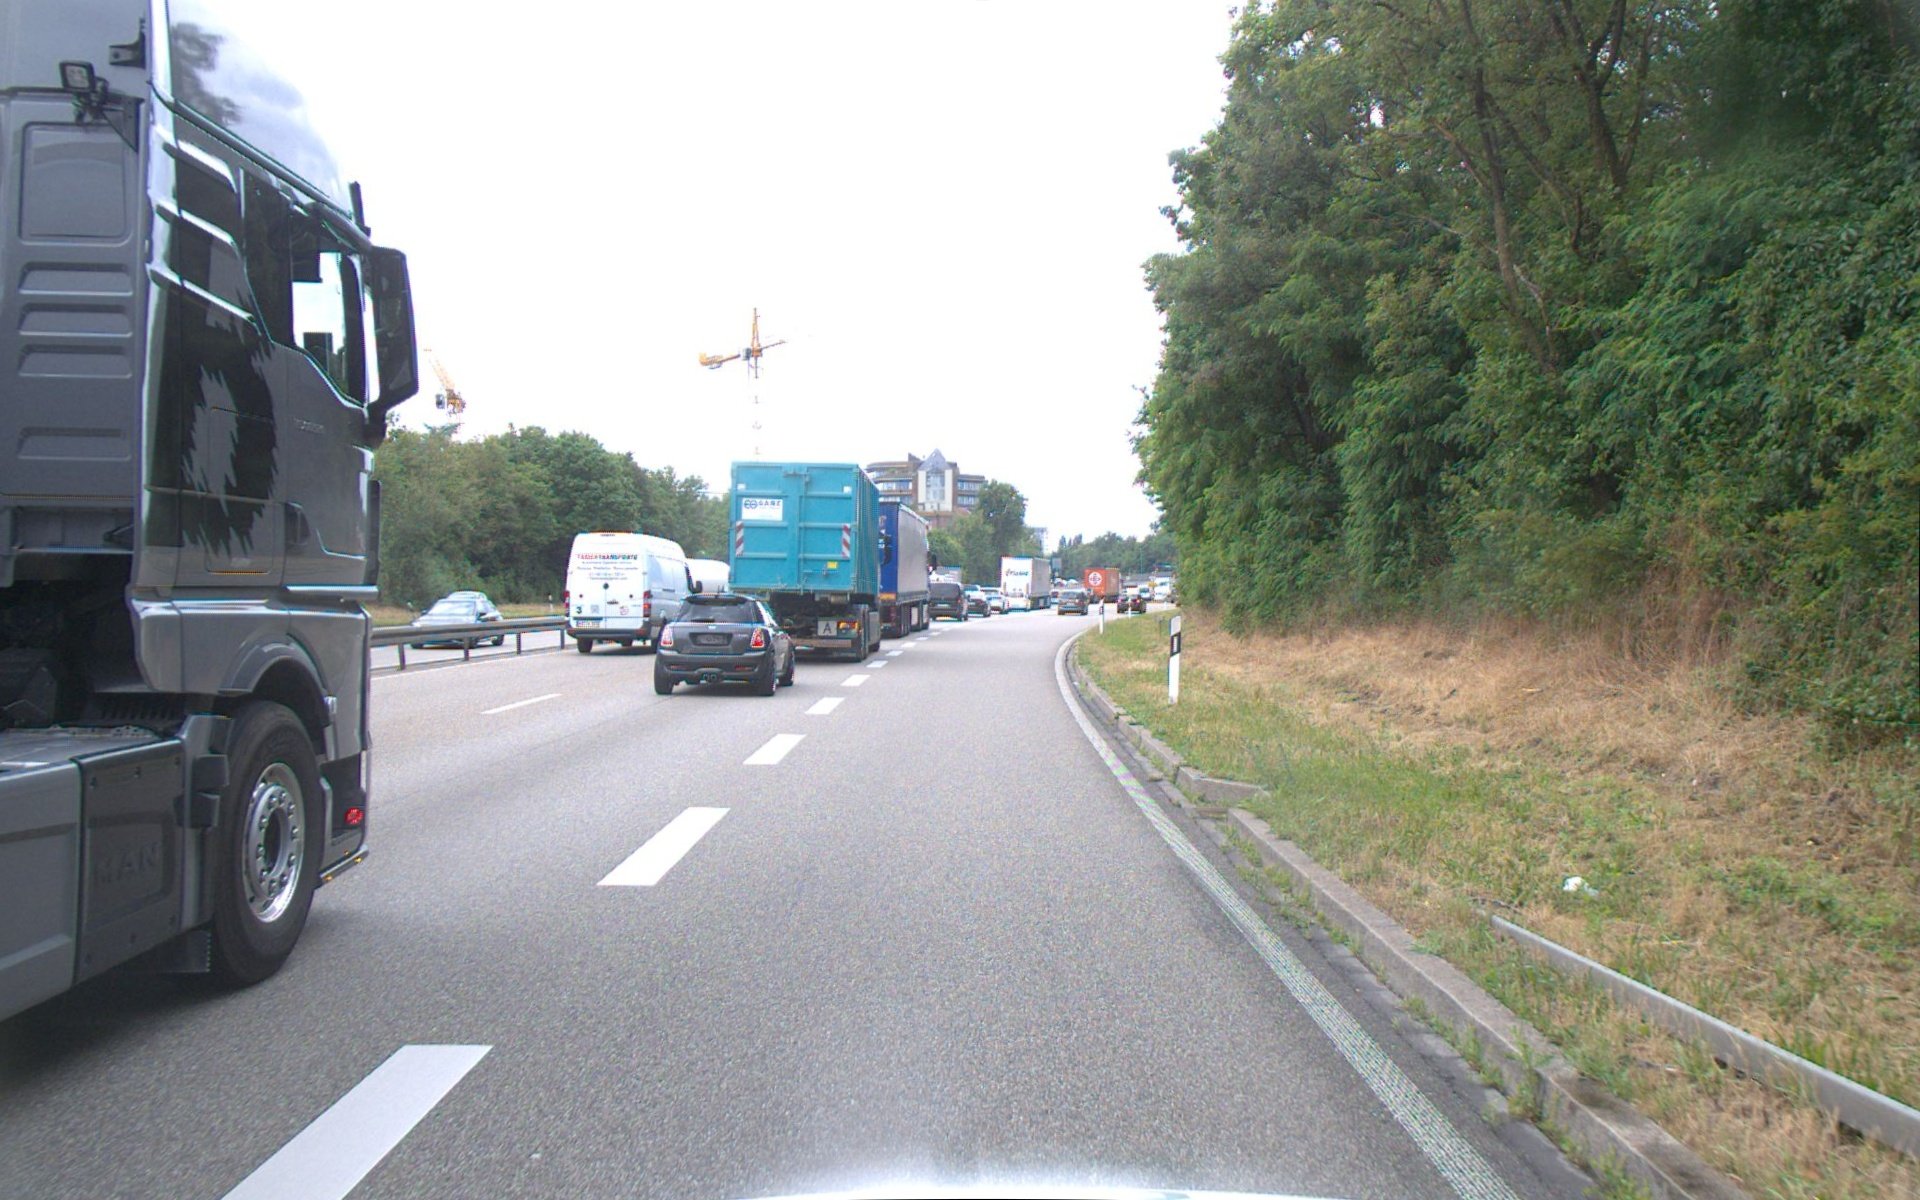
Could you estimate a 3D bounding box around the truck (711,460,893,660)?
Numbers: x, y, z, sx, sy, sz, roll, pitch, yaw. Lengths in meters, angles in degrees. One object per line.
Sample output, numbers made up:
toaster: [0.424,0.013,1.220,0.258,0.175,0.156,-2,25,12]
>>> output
truck: [-3.296,-0.815,37.827,2.868,3.863,11.332,0,0,1]

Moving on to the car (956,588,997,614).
car: [0.973,0.049,95.706,1.808,1.485,4.835,0,0,7]

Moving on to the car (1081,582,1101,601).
car: [14.669,-0.982,185.040,1.951,2.049,4.004,0,0,9]

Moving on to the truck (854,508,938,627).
truck: [-2.293,-1.135,61.120,2.508,4.113,6.591,1,0,2]

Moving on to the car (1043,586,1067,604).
car: [9.161,-0.475,158.645,1.761,1.632,4.261,1,0,10]

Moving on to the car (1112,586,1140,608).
car: [11.938,-0.213,118.758,1.786,1.508,4.004,0,0,10]

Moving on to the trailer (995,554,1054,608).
trailer: [5.280,-1.424,132.508,3.228,4.107,13.108,1,0,8]

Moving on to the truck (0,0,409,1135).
truck: [-3.765,-0.620,4.193,2.629,3.975,6.933,0,0,-2]

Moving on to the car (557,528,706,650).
car: [-7.686,-0.237,39.468,2.177,2.623,6.797,1,0,-1]

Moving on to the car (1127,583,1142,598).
car: [23.976,-1.334,227.419,1.580,2.049,4.003,0,0,13]

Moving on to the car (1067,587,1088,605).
car: [11.980,-0.412,168.638,1.680,1.713,4.003,1,0,10]

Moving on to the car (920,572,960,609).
car: [-1.417,-0.669,119.452,1.951,2.598,5.367,0,0,9]

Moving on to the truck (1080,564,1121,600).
truck: [16.806,-2.093,197.029,3.415,4.144,13.604,0,0,11]

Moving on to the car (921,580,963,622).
car: [-0.892,0.044,82.957,1.947,1.931,4.984,-3,0,0]

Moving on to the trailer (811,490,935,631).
trailer: [-2.679,-1.144,55.514,2.571,4.093,13.469,1,0,3]

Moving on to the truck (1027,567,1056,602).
truck: [10.156,-1.857,205.289,2.680,4.211,10.705,1,0,8]

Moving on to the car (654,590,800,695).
car: [-3.418,0.575,24.803,1.712,1.446,3.663,0,0,-1]

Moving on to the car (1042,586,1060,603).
car: [8.705,-0.521,158.008,1.498,1.579,3.421,0,0,8]

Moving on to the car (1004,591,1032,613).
car: [4.199,0.140,119.574,1.727,1.504,4.092,-1,0,6]

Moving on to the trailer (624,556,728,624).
trailer: [-15.271,-0.549,90.025,2.418,3.455,12.471,0,0,5]

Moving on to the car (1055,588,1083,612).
car: [7.104,-0.029,108.083,1.787,1.508,4.002,0,0,4]

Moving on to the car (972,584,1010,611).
car: [2.064,-0.169,108.297,1.915,1.724,4.870,0,0,8]
